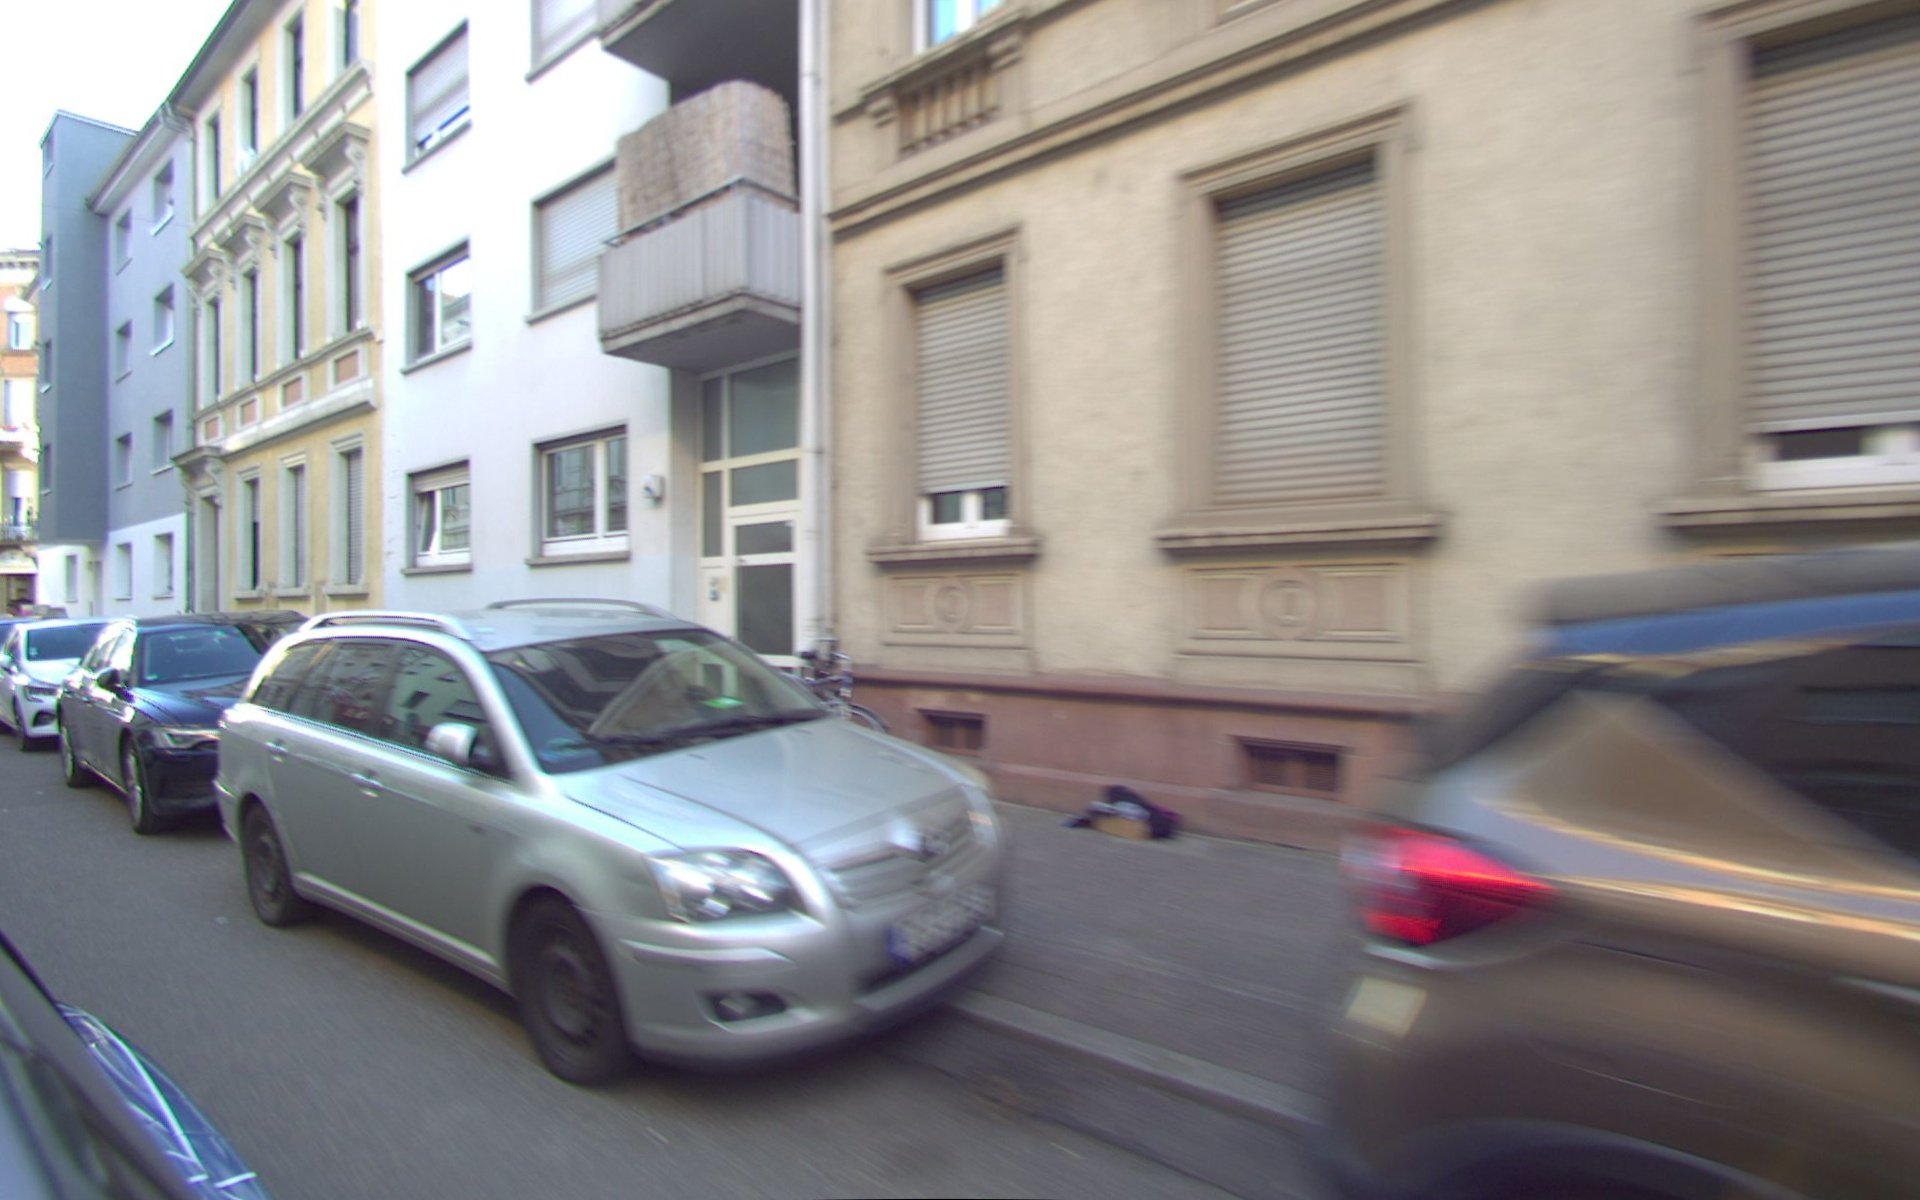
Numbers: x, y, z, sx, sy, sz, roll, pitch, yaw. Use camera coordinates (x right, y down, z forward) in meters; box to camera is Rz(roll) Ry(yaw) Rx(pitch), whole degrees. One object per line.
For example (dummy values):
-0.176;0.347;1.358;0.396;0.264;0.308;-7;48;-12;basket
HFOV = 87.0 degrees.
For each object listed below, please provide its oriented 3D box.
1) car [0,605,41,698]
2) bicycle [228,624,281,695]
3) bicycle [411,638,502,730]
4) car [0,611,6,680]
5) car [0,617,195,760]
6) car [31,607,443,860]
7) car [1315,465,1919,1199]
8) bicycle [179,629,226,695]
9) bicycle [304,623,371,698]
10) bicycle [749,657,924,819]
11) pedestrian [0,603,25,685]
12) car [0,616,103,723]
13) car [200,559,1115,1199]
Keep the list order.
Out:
-19.477;0.989;19.835;3.779;1.724;1.622;-1;-1;39;car
-11.583;0.955;16.602;1.543;1.123;0.377;-1;-1;42;bicycle
-5.995;0.972;12.021;1.541;1.016;0.289;-1;-1;36;bicycle
-24.272;1.085;24.211;3.779;1.592;1.622;-1;-1;39;car
-10.984;0.975;12.564;3.786;1.500;1.621;-1;-1;41;car
-6.147;0.863;8.376;4.491;1.551;1.772;-1;-1;41;car
2.694;0.619;1.000;4.066;1.588;1.773;-1;-1;39;car
-13.594;1.092;18.153;1.543;1.123;0.377;-1;-1;42;bicycle
-8.867;0.843;14.403;1.541;1.016;0.289;-1;-1;38;bicycle
-0.919;0.934;7.243;1.543;1.016;0.288;-1;-1;42;bicycle
-20.820;0.961;22.168;0.454;1.769;0.450;-1;-1;39;pedestrian
-14.859;1.029;15.923;3.953;1.500;1.620;-1;-1;43;car
-1.684;0.715;4.552;4.429;1.551;1.773;-1;-1;39;car
